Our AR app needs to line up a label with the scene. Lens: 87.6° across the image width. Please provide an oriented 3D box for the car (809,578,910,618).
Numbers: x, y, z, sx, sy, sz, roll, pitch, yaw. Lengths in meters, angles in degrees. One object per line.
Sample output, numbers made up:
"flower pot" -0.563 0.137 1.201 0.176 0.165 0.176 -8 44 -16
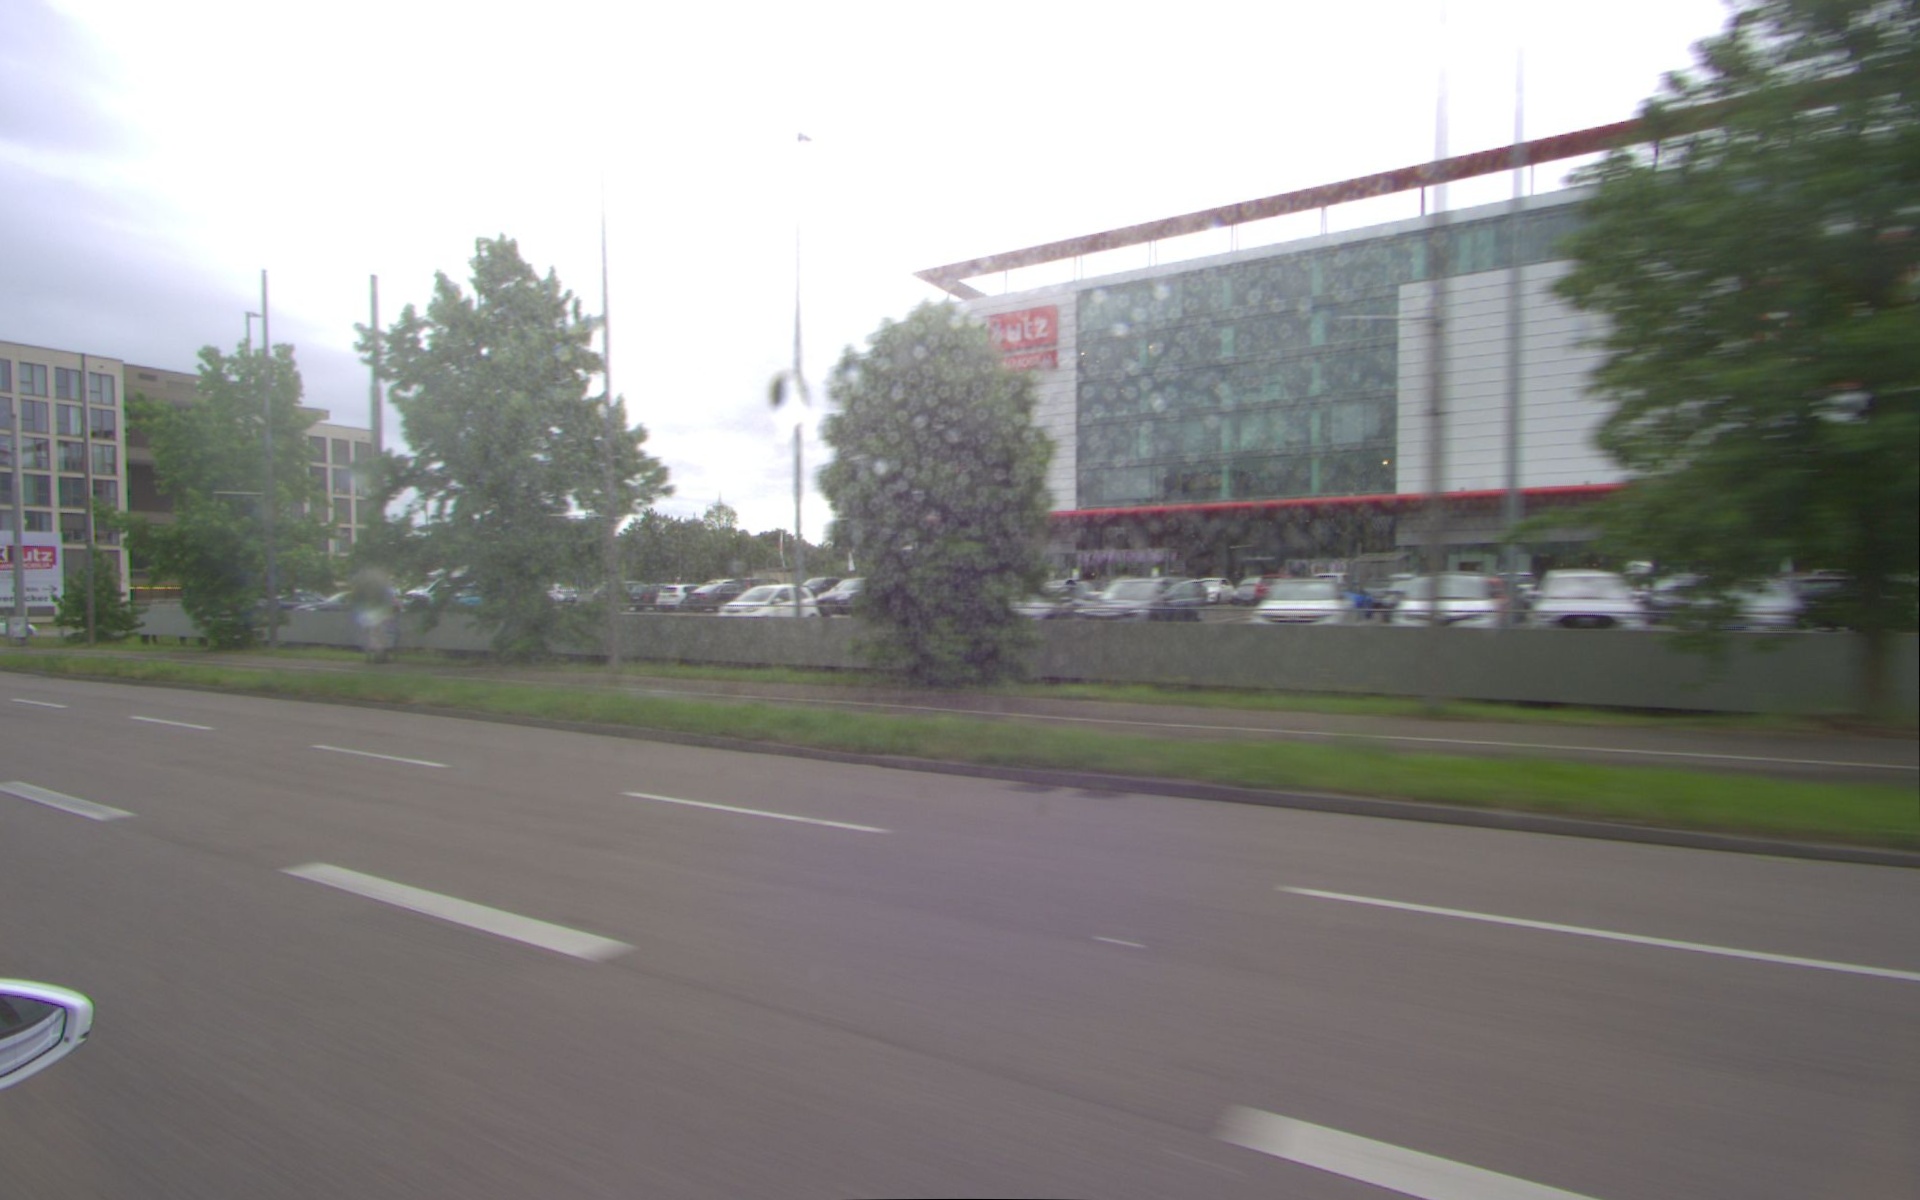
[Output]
"car" -4.248 -0.109 42.993 1.972 1.613 4.355 2 2 34

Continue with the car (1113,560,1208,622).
"car" 7.139 -0.275 35.351 1.971 2.040 4.168 0 0 32

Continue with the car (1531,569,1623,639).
"car" 17.098 0.104 27.666 1.863 1.767 4.300 2 1 35

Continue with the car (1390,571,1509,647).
"car" 10.145 0.154 20.610 1.808 1.368 4.046 2 1 31

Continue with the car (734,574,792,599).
"car" -12.925 -0.869 65.930 1.580 1.576 3.619 2 1 37

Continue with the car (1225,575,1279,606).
"car" 15.582 -0.493 53.355 1.717 1.575 3.784 2 1 32

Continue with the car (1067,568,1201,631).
"car" 4.293 -0.015 24.219 1.783 1.368 4.144 2 1 31

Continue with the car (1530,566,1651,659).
"car" 12.111 0.197 19.194 1.739 1.561 4.044 2 1 34

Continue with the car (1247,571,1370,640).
"car" 7.827 0.094 22.278 1.737 1.368 4.046 2 1 31

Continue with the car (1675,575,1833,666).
"car" 14.314 0.317 18.297 1.841 1.438 4.454 2 1 34

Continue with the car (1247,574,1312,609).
"car" 15.029 -0.381 46.992 1.719 1.575 3.779 2 1 37

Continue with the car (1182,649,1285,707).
"car" 7.862 2.168 28.599 1.739 1.368 4.046 0 -1 32

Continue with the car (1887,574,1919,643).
"car" 23.868 0.227 23.828 1.852 1.617 3.979 2 1 32

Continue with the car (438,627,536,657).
"car" -23.038 2.005 48.857 1.739 1.368 4.045 0 -1 33

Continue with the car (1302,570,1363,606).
"car" 17.193 -0.517 46.106 1.717 1.608 3.556 -1 -1 37

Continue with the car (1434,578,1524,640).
"car" 15.217 0.262 29.260 1.809 1.685 4.160 0 0 35

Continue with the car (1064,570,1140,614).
"car" 5.992 -0.332 41.950 1.709 1.725 3.727 2 1 34

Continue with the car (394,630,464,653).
"car" -33.044 2.563 62.358 1.438 1.303 3.610 2 1 35

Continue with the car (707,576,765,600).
"car" -15.191 -0.787 67.877 1.678 1.516 3.619 2 1 37

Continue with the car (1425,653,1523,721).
"car" 12.829 2.090 24.880 1.739 1.368 4.044 0 -1 34

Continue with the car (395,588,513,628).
"car" -20.693 0.292 41.111 1.784 1.545 4.063 1 1 29

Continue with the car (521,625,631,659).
"car" -13.758 1.476 36.035 1.494 1.146 3.506 0 -1 32

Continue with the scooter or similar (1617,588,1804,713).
"scooter or similar" 9.204 0.595 12.324 1.798 1.440 0.647 -1 1 42

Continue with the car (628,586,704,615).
"car" -16.346 0.000 55.838 1.760 1.528 3.830 1 1 36

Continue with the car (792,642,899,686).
"car" -4.058 2.246 36.084 1.738 1.368 4.048 0 -1 31

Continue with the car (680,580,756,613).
"car" -12.645 -0.167 52.528 1.678 1.655 3.619 2 1 37

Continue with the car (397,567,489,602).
"car" -34.262 -1.001 66.443 2.136 2.241 4.995 2 1 37

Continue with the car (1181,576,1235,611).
"car" 13.692 -0.363 55.123 1.787 1.805 3.976 2 1 30

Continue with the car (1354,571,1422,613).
"car" 18.946 -0.319 44.231 1.871 1.773 3.973 -1 -1 37

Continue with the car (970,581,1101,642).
"car" 2.045 0.270 26.029 1.737 1.418 4.046 2 1 31

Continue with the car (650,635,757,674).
"car" -10.212 2.135 40.167 1.739 1.368 4.044 0 -1 34

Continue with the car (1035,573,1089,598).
"car" 6.169 -0.851 60.185 1.678 1.395 3.583 2 1 35

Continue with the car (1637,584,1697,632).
"car" 28.494 0.327 40.461 1.761 1.844 3.979 -1 0 32

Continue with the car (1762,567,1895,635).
"car" 21.668 0.054 25.152 1.861 1.554 3.980 0 -1 31

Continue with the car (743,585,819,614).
"car" -8.980 -0.048 50.458 1.677 1.374 3.622 2 1 35

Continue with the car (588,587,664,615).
"car" -19.136 0.022 57.460 1.760 1.528 3.830 1 1 36

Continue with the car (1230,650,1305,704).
"car" 11.111 2.714 36.048 1.757 1.644 3.982 0 0 30

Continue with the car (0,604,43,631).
"car" -64.305 1.168 66.844 1.962 1.775 4.177 0 0 11

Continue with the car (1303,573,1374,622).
"car" 13.651 -0.127 36.006 1.805 1.645 3.980 0 1 30

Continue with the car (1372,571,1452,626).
"car" 15.602 -0.063 34.464 1.814 1.744 3.977 3 2 34

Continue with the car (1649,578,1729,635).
"car" 22.532 0.214 31.087 1.821 1.647 3.977 -1 -1 34

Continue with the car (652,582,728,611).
"car" -14.685 -0.198 54.637 1.759 1.528 3.831 1 1 35

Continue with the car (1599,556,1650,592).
"car" 31.055 -1.174 46.887 1.803 1.575 3.785 2 1 32

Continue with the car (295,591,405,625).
"car" -27.109 0.323 44.608 1.695 1.403 3.866 2 1 31

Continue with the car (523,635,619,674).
"car" -20.262 2.810 52.352 1.973 1.856 4.356 0 -1 34

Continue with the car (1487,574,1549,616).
"car" 23.404 -0.217 41.924 1.856 1.632 3.975 2 1 35

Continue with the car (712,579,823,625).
"car" -5.977 0.059 31.387 1.581 1.325 3.511 2 1 27

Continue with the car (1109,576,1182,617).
"car" 7.517 -0.134 40.461 1.589 1.546 3.553 2 1 34

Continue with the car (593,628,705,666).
"car" -10.407 1.541 33.689 1.434 1.146 3.506 0 -1 32
